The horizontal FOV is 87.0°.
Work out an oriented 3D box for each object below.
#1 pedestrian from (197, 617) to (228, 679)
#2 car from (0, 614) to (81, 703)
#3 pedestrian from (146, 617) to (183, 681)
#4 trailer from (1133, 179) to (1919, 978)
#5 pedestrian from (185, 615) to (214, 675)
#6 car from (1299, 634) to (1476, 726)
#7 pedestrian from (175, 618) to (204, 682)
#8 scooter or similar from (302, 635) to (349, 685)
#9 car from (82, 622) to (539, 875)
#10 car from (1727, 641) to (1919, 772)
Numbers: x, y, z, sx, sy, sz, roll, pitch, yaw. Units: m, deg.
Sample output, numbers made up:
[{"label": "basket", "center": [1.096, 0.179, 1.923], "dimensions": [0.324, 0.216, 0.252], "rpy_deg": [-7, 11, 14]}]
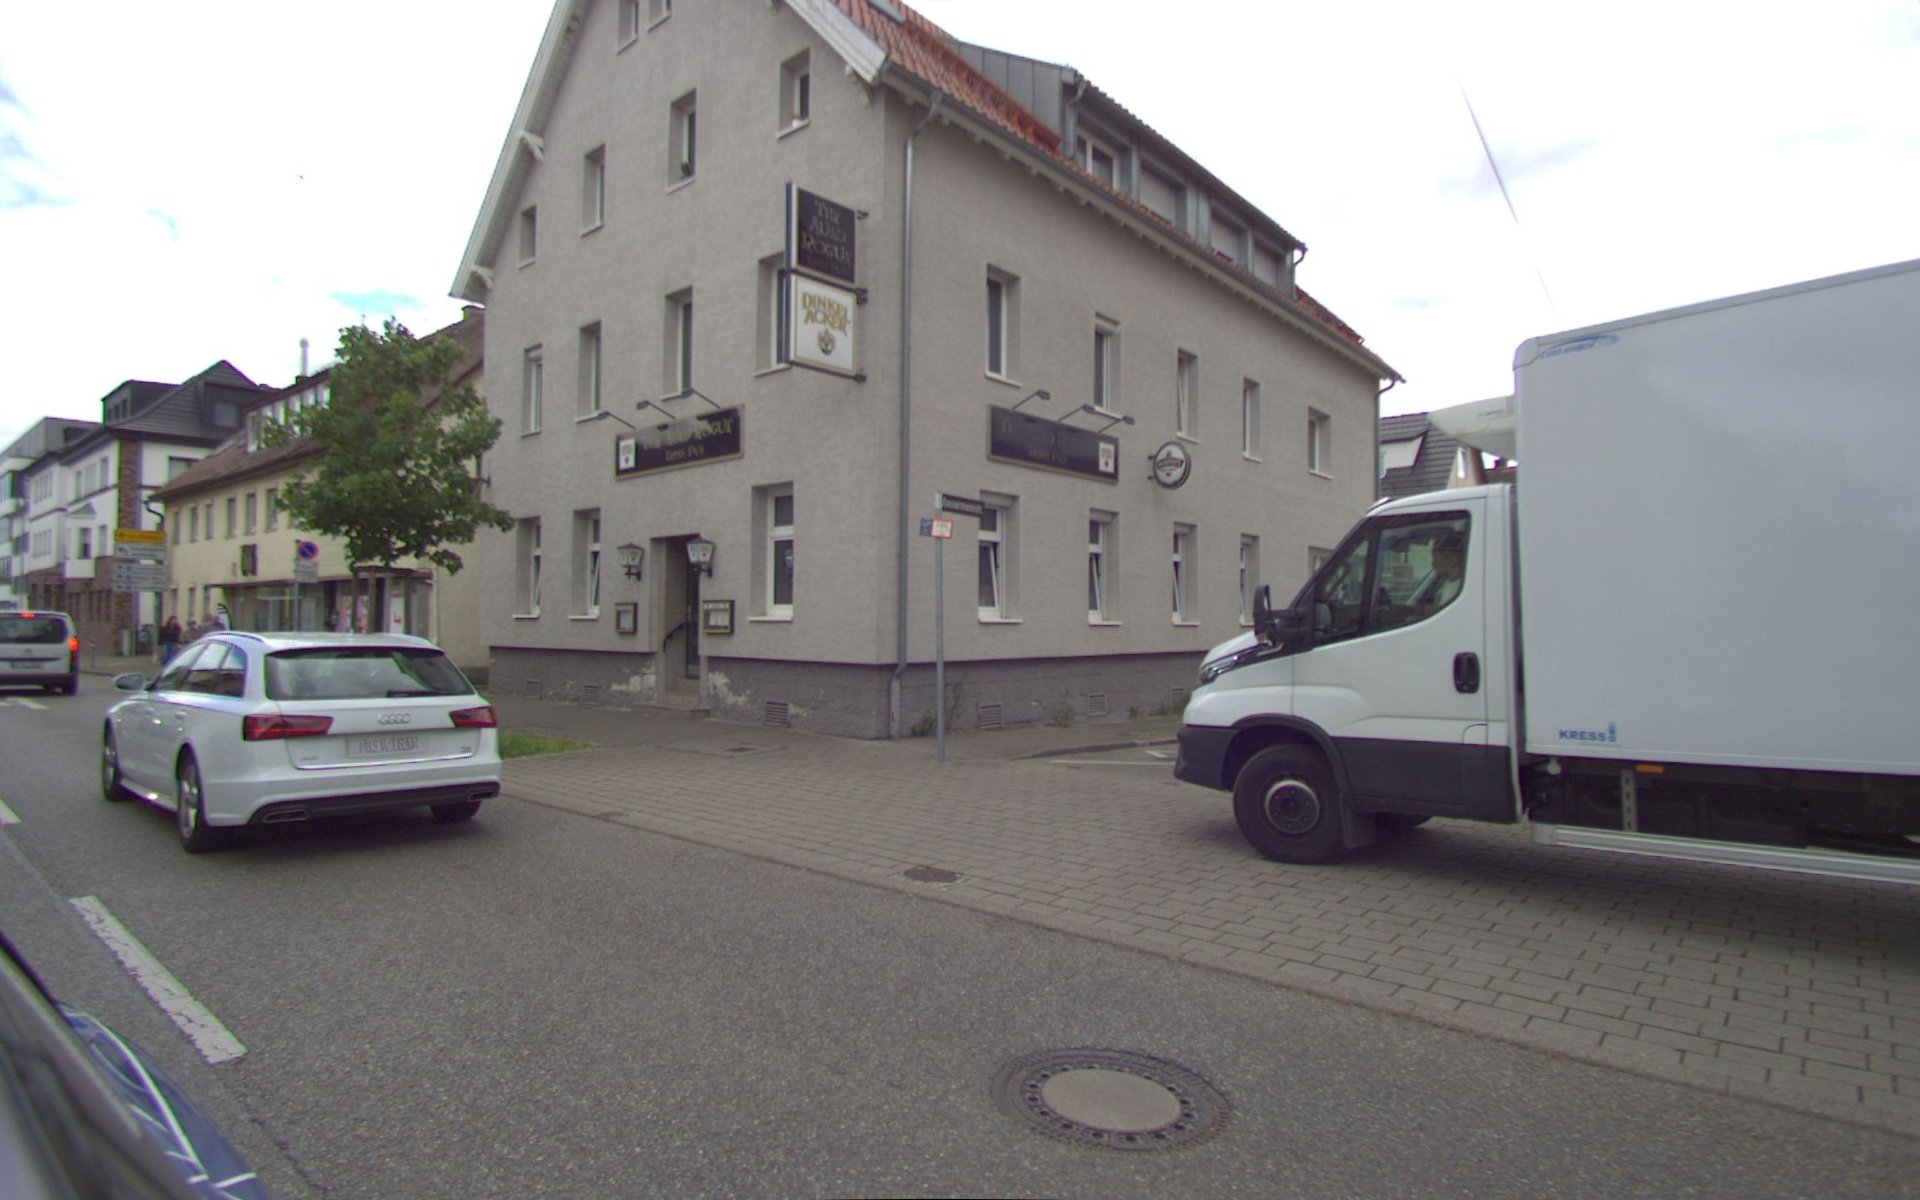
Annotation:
[{"label": "pedestrian", "center": [-21.279, 1.358, 28.814], "dimensions": [0.648, 1.750, 0.547], "rpy_deg": [-2, -3, 41]}, {"label": "car", "center": [-20.824, 1.227, 22.019], "dimensions": [4.275, 1.810, 1.972], "rpy_deg": [-1, -3, 41]}, {"label": "pedestrian", "center": [-22.305, 1.360, 28.378], "dimensions": [0.717, 1.750, 0.670], "rpy_deg": [-2, -3, 41]}, {"label": "trailer", "center": [4.565, -0.076, 5.207], "dimensions": [2.473, 3.244, 7.141], "rpy_deg": [0, -2, -43]}, {"label": "pedestrian", "center": [-22.389, 1.321, 29.791], "dimensions": [0.648, 1.750, 0.547], "rpy_deg": [-2, -3, 41]}, {"label": "car", "center": [8.219, 1.467, 19.288], "dimensions": [1.780, 1.492, 3.943], "rpy_deg": [-5, -4, 43]}, {"label": "pedestrian", "center": [-21.507, 1.392, 28.245], "dimensions": [0.648, 1.750, 0.491], "rpy_deg": [-2, -3, 41]}, {"label": "scooter or similar", "center": [-15.717, 1.472, 25.041], "dimensions": [1.721, 1.179, 0.522], "rpy_deg": [-1, -1, 41]}, {"label": "car", "center": [-5.308, 0.925, 7.994], "dimensions": [4.541, 1.444, 1.823], "rpy_deg": [-1, -3, 41]}, {"label": "car", "center": [12.480, 1.447, 14.644], "dimensions": [1.978, 1.460, 4.156], "rpy_deg": [4, -1, 40]}]
